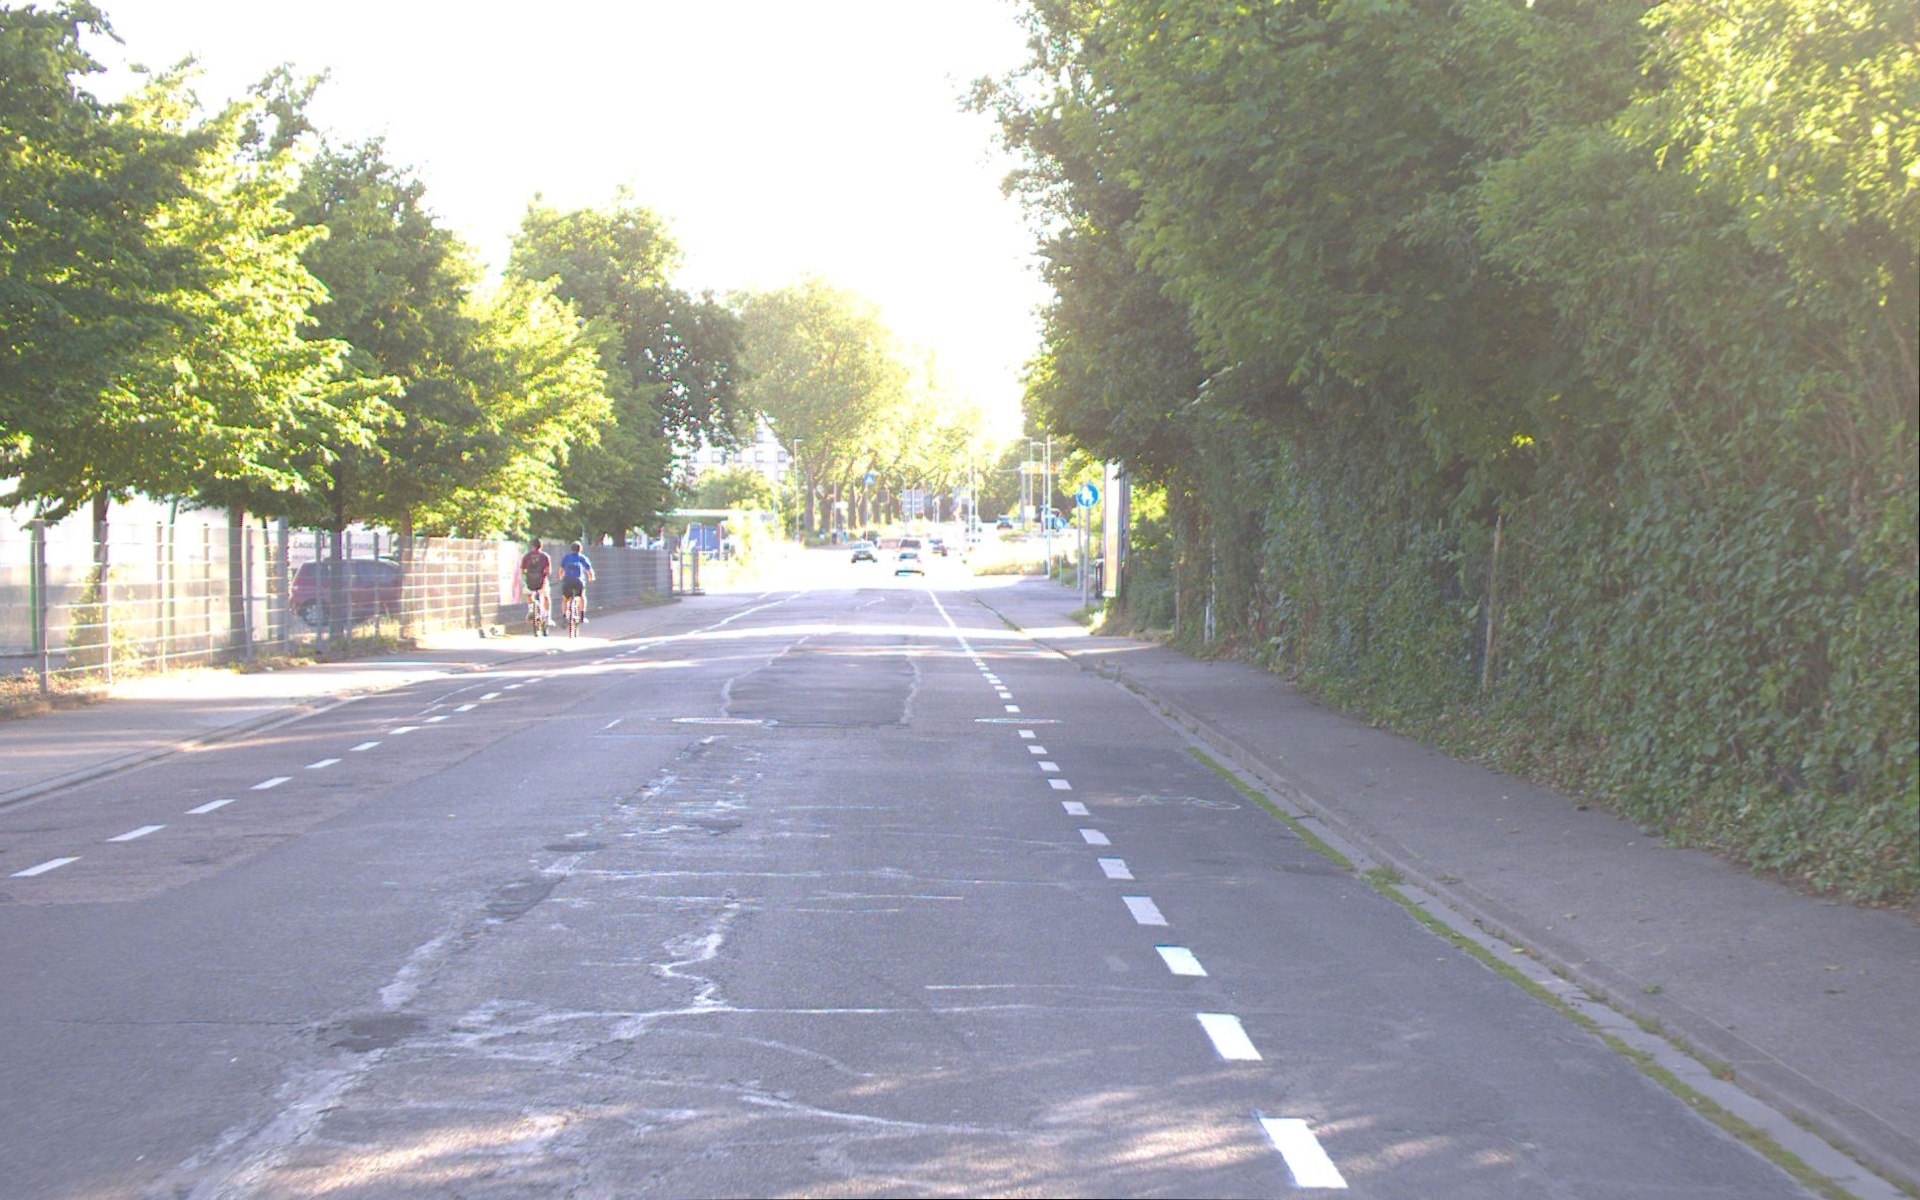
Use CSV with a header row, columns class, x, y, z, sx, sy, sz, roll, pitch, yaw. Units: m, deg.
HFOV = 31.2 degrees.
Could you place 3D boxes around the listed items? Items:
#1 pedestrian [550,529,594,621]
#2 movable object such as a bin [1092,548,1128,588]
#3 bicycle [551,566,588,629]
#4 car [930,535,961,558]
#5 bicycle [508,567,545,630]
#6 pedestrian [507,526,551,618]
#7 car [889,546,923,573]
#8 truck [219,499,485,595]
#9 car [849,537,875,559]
class,x,y,z,sx,sy,sz,roll,pitch,yaw
pedestrian,-7.311,-0.479,64.804,0.721,1.715,1.057,0,1,-1
movable object such as a bin,5.093,-1.095,116.949,1.128,1.367,1.345,0,1,-2
bicycle,-7.345,-0.058,64.704,0.446,1.144,2.201,2,1,-1
car,-1.092,-4.026,257.089,2.163,1.678,4.001,0,1,-2
bicycle,-8.159,-0.044,64.750,0.470,1.144,1.869,2,1,-1
pedestrian,-8.151,-0.528,65.038,0.721,1.715,1.057,0,1,-1
car,-3.111,-2.336,197.122,1.790,1.415,4.000,1,1,1
truck,-24.281,-2.103,137.570,10.097,3.602,2.776,1,0,-1
car,-6.869,-3.664,240.325,1.740,1.521,4.112,0,1,-3
